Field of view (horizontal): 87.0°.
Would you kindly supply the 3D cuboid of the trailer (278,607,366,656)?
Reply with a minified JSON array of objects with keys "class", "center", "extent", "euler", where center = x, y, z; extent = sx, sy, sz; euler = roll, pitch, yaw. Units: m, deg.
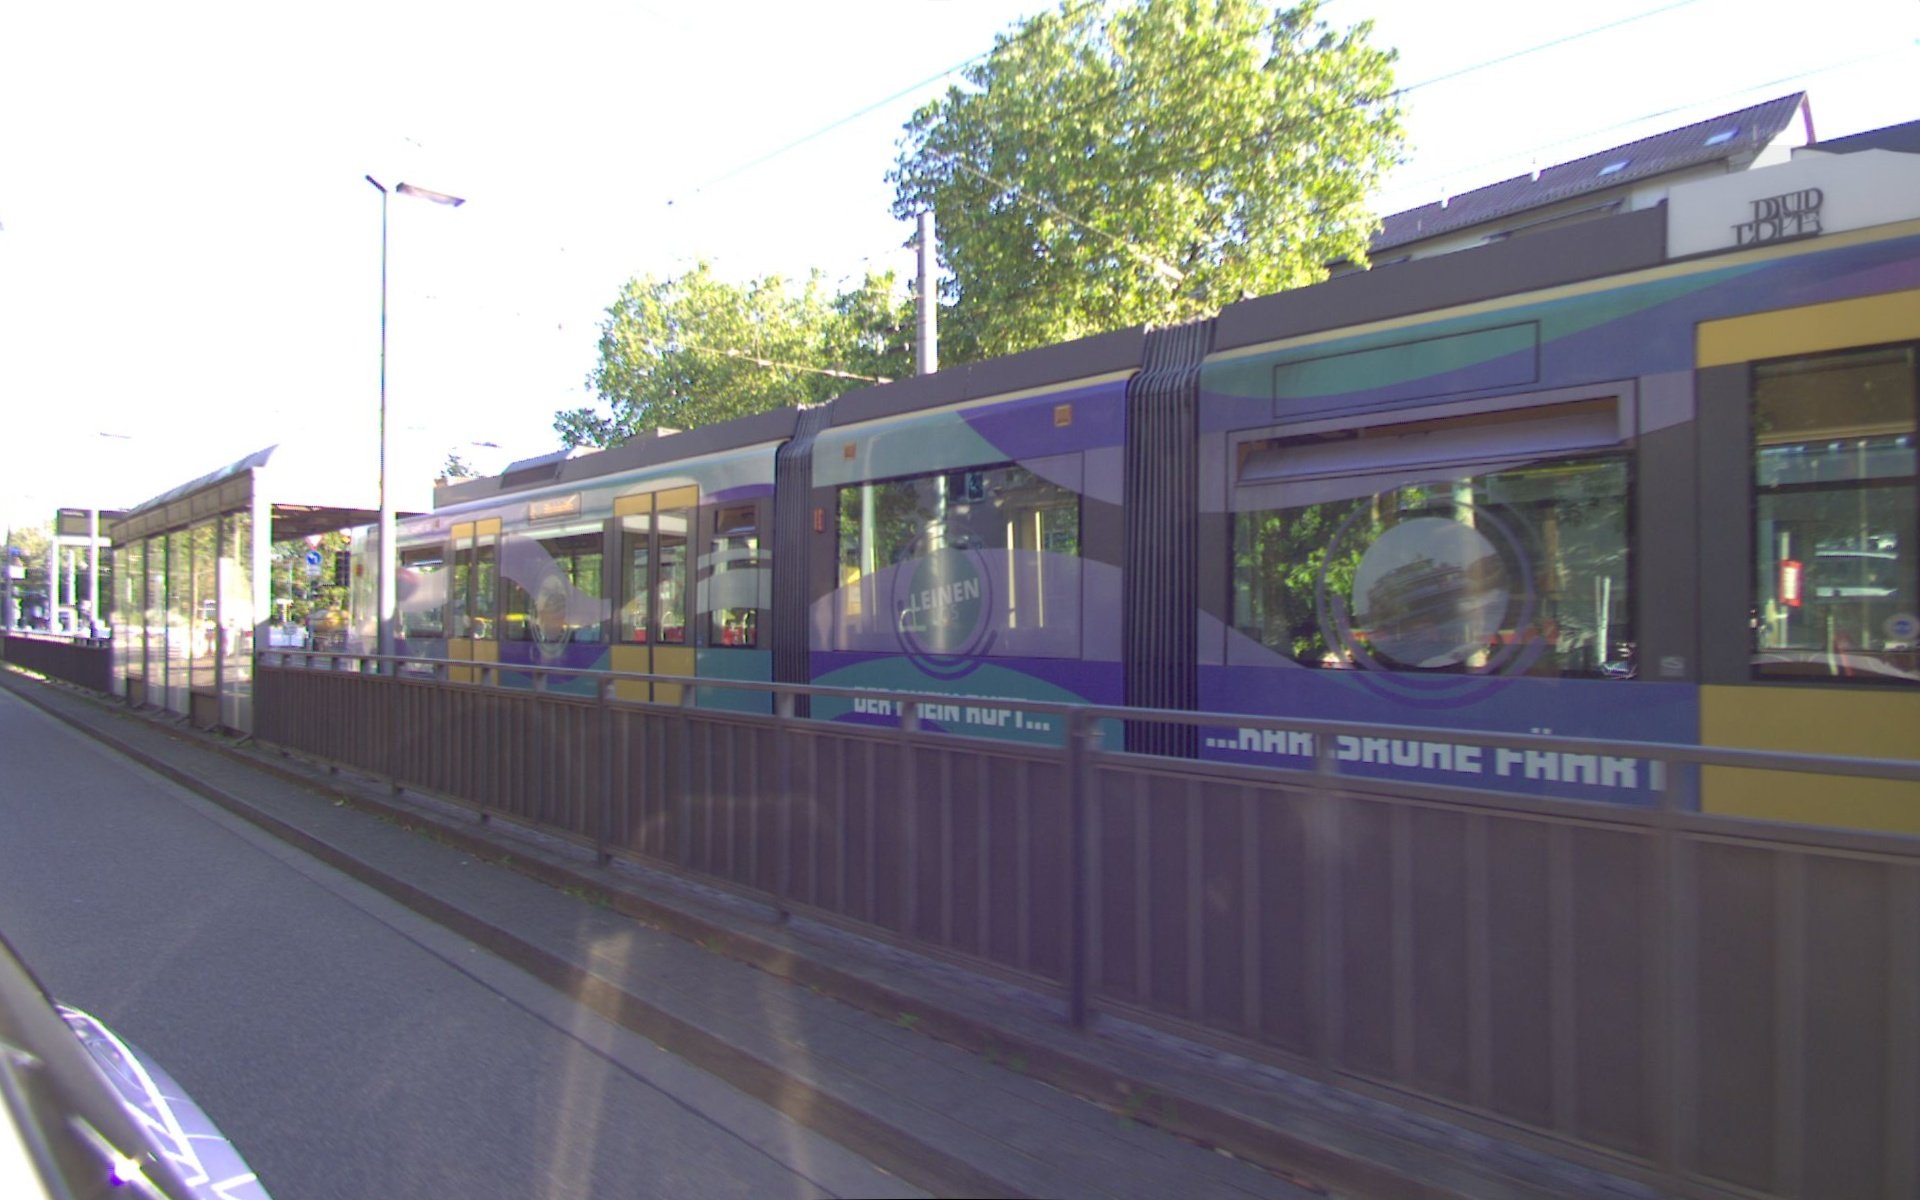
[{"class":"trailer","center":[-29.346,1.451,46.528],"extent":[4.337,2.131,1.976],"euler":[-2,-2,36]}]

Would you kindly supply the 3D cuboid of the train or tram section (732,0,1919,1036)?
[{"class":"train or tram section","center":[3.789,-0.340,4.572],"extent":[12.785,3.576,2.699],"euler":[-1,-2,43]}]

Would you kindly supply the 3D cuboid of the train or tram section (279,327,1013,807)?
[{"class":"train or tram section","center":[-5.342,-0.130,13.116],"extent":[13.396,3.560,2.818],"euler":[-1,-2,43]}]
